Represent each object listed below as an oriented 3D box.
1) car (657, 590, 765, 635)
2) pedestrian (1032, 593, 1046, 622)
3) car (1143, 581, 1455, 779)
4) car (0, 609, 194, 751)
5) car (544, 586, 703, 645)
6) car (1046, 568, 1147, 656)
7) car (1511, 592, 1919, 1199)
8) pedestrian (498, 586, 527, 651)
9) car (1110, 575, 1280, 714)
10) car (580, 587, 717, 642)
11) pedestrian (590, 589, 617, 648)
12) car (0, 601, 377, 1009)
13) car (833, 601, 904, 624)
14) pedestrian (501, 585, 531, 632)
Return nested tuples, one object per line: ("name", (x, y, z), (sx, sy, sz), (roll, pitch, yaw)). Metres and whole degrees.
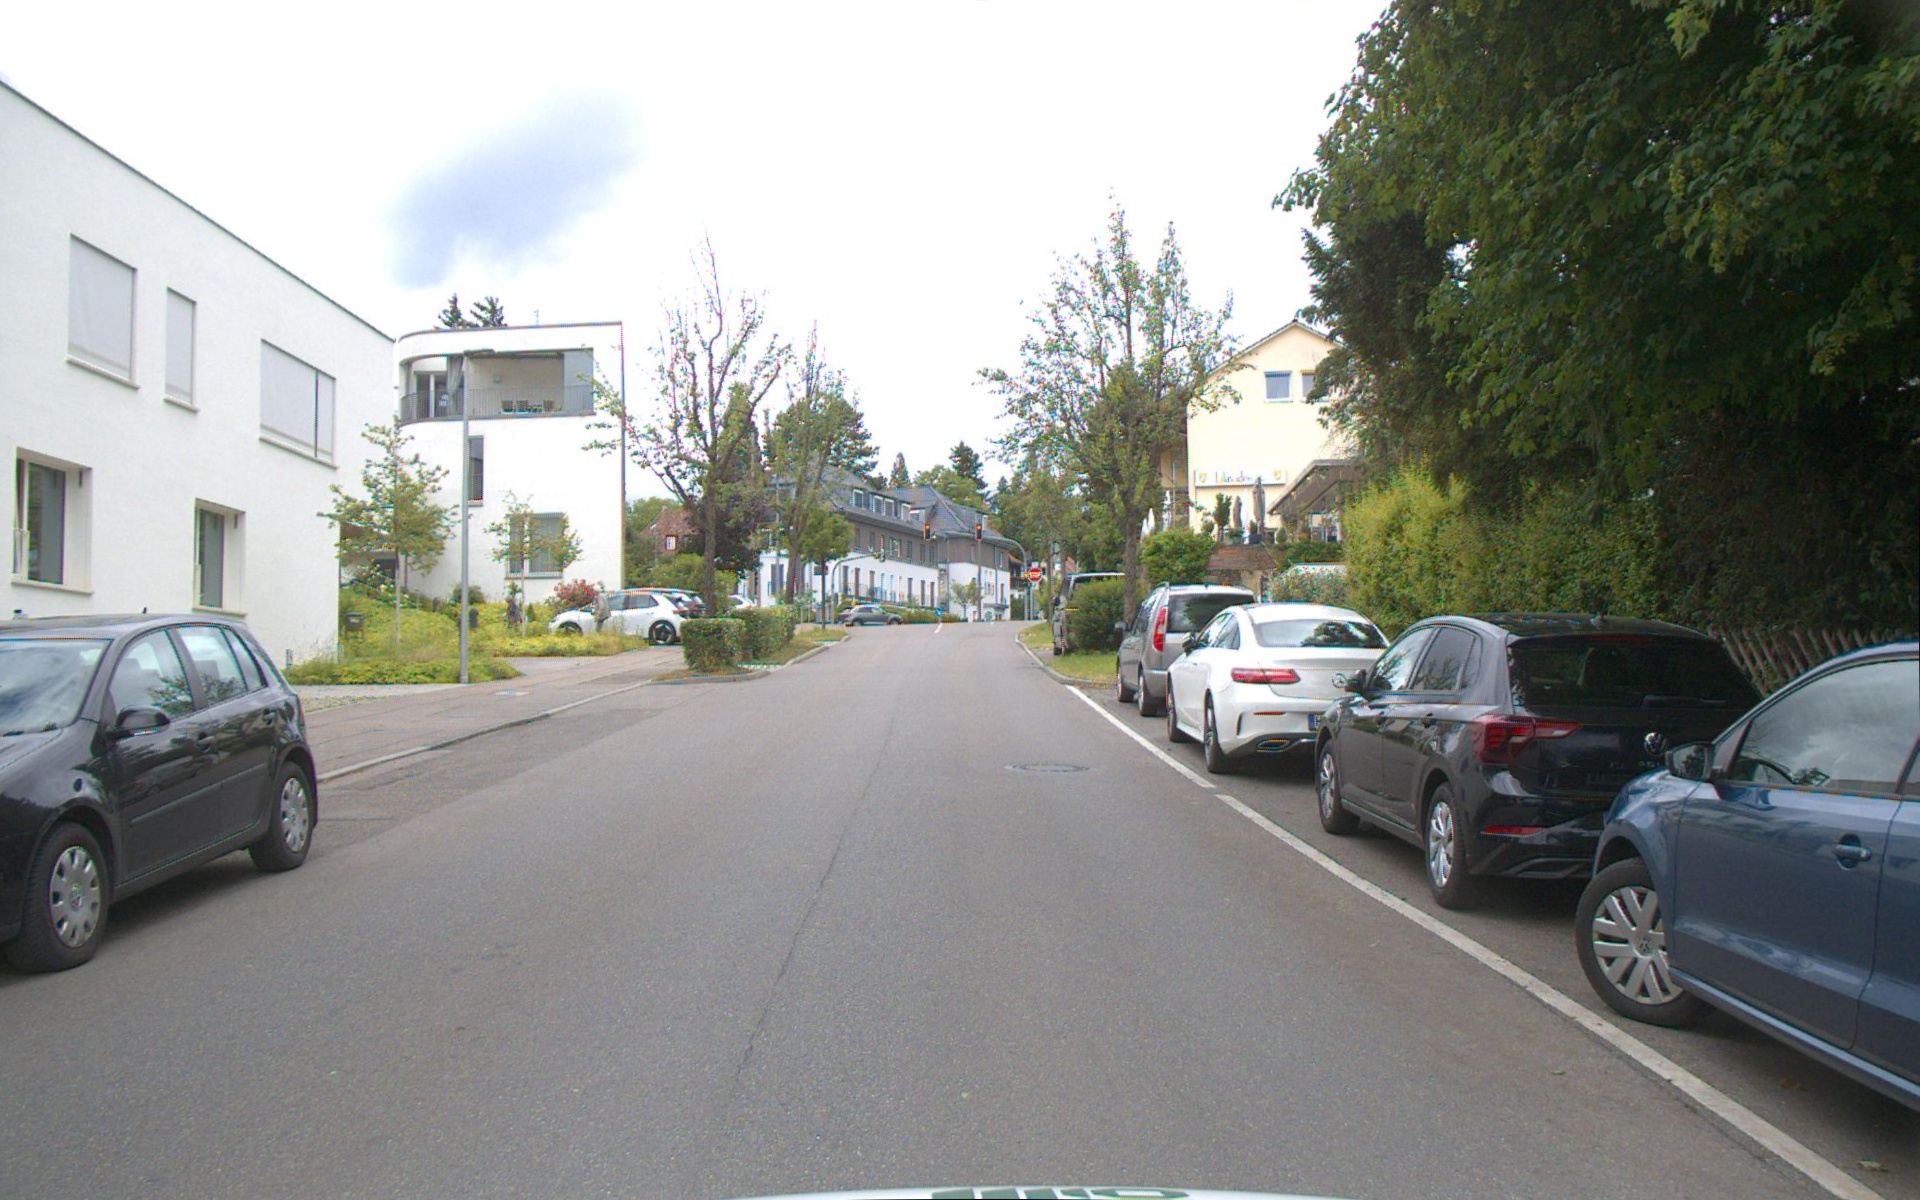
("car", (-10.242, 0.535, 68.357), (4.175, 1.651, 2.012), (-2, -1, -3))
("pedestrian", (4.817, 0.456, 100.708), (0.669, 1.711, 0.701), (-1, 0, 16))
("car", (2.987, 0.619, 15.712), (1.952, 1.517, 5.005), (-2, 0, 1))
("car", (-10.293, 0.831, 17.320), (3.721, 1.378, 1.739), (-1, 0, -6))
("car", (-10.021, 0.453, 49.520), (4.298, 1.594, 2.066), (-2, 0, -2))
("car", (3.085, 0.243, 38.324), (1.896, 1.870, 5.219), (-1, 0, 0))
("car", (3.172, 0.758, 4.933), (1.663, 1.534, 4.160), (1, 0, 0))
("pedestrian", (-11.909, 0.492, 44.035), (0.576, 1.711, 0.519), (-1, 0, 1))
("car", (3.022, 0.537, 21.959), (1.681, 1.661, 3.928), (1, 0, 0))
("car", (-9.789, 0.443, 52.164), (3.905, 1.682, 2.009), (0, 0, 1))
("pedestrian", (-10.157, 0.525, 47.125), (0.581, 1.669, 0.565), (-2, 0, 1))
("car", (-4.553, 0.796, 8.086), (1.813, 1.495, 4.681), (-2, 0, -1))
("car", (-5.580, 0.774, 101.194), (3.932, 1.310, 1.986), (1, 0, -23))
("pedestrian", (-12.628, 0.245, 47.055), (0.594, 1.305, 0.899), (0, 0, 0))
